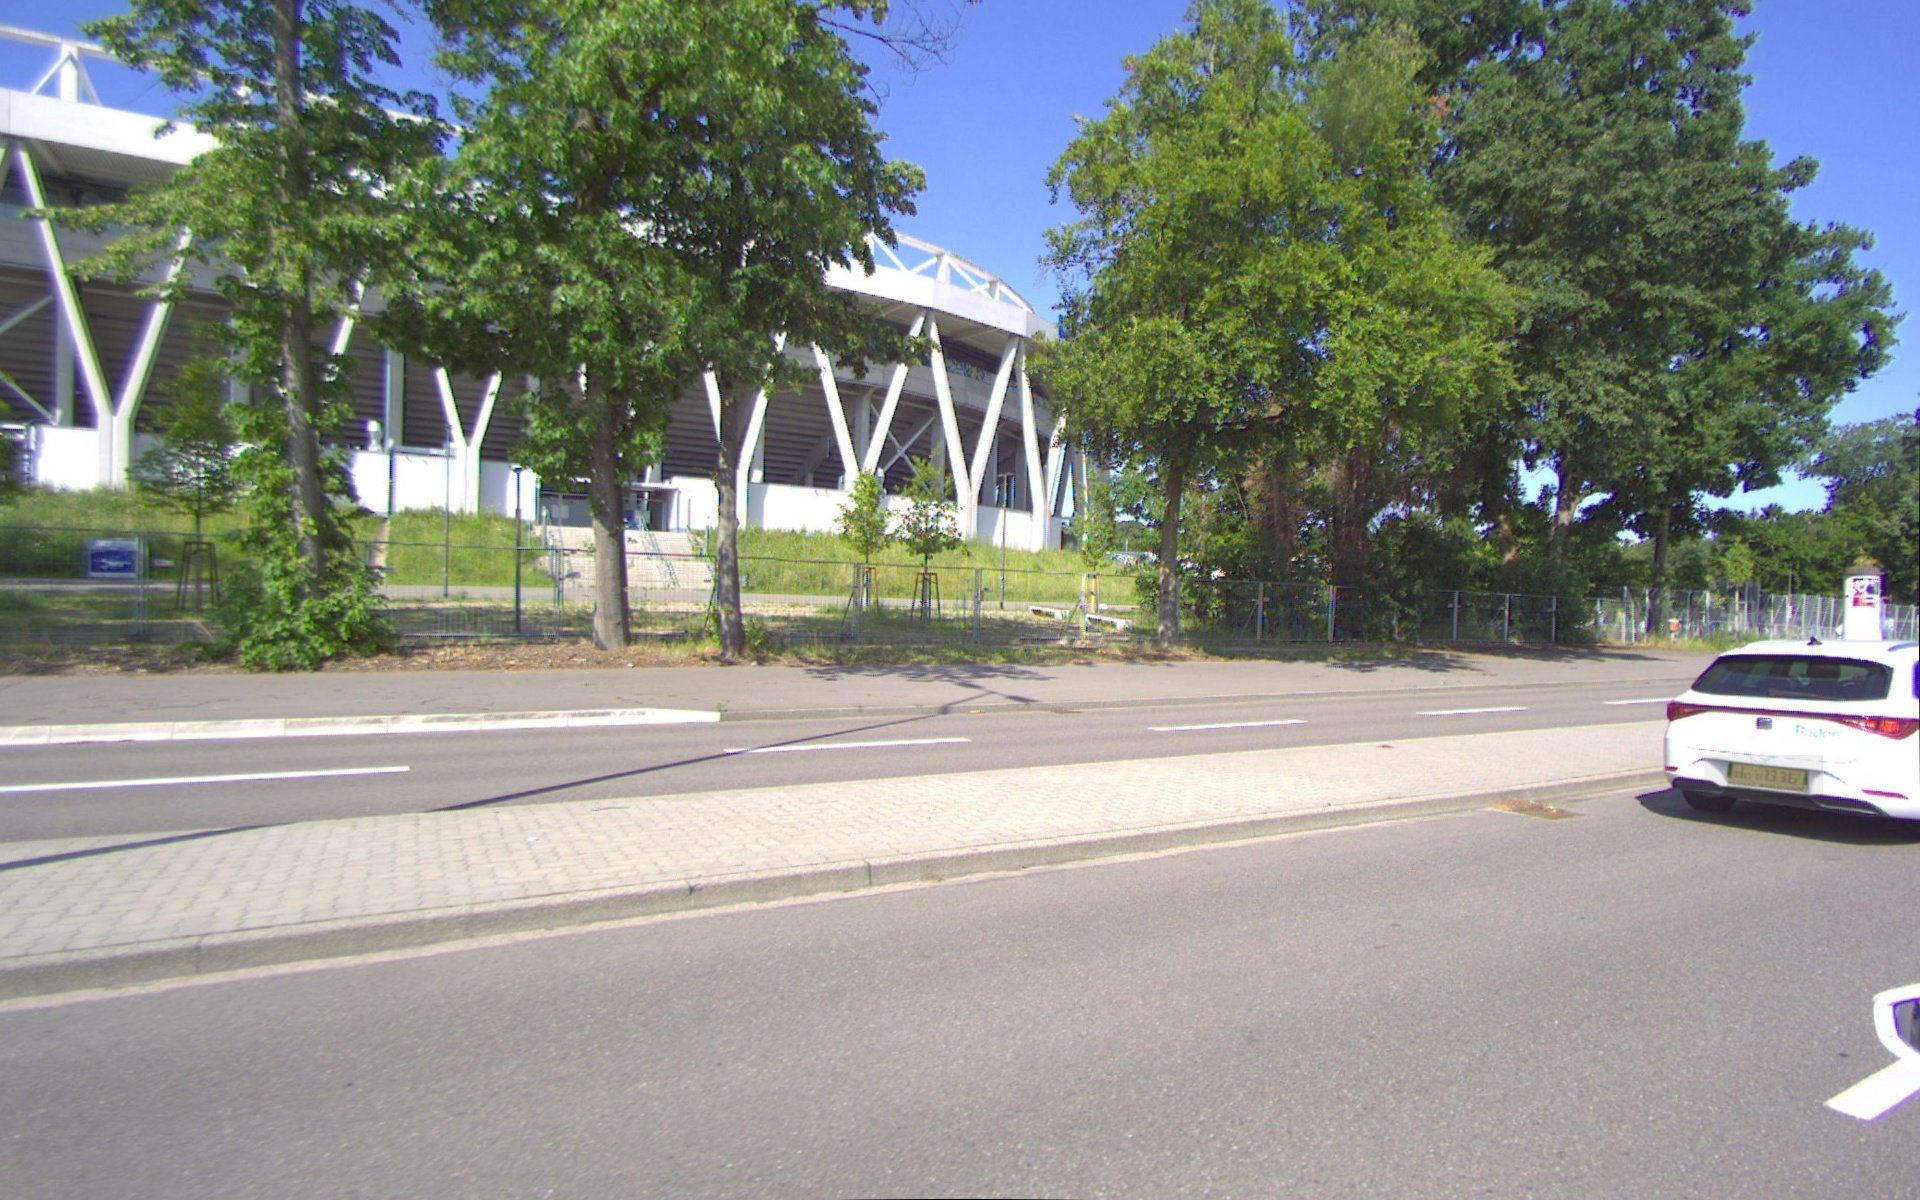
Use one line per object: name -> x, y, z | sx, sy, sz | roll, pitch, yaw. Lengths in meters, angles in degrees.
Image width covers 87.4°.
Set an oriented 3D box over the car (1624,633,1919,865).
car -> 7.685, 1.021, 8.388 | 4.665, 1.446, 1.717 | 1, 0, -31
